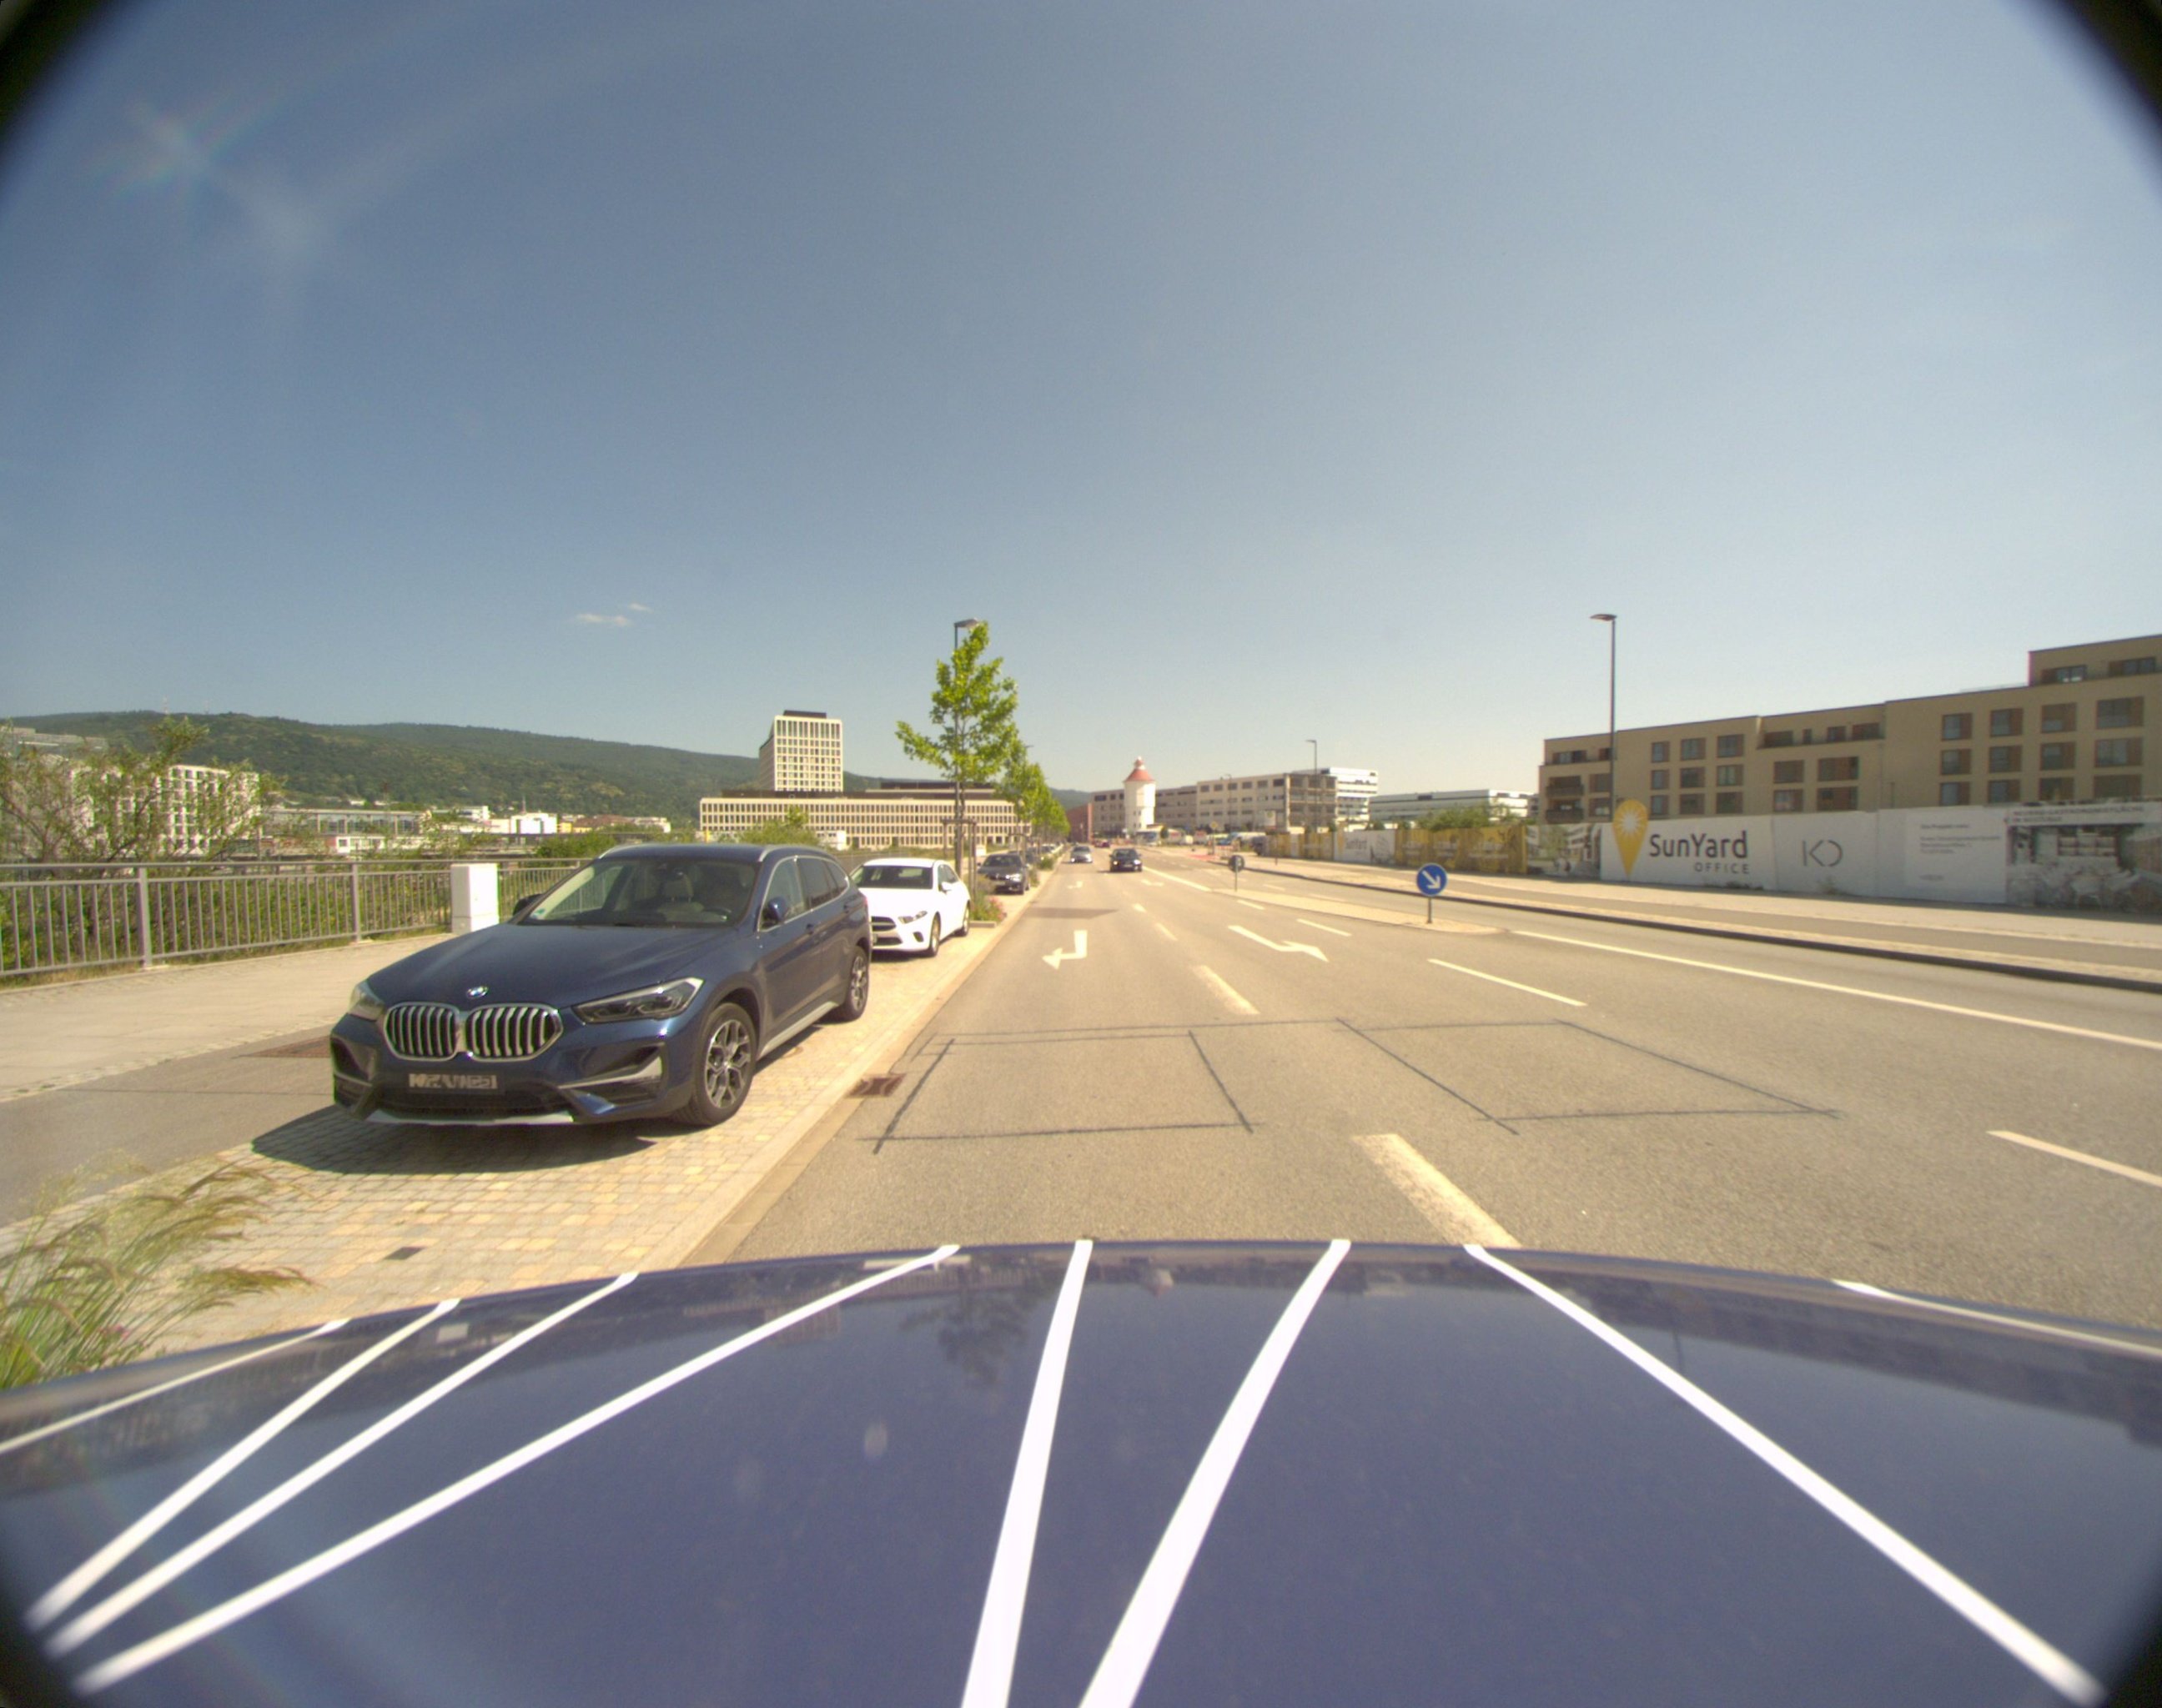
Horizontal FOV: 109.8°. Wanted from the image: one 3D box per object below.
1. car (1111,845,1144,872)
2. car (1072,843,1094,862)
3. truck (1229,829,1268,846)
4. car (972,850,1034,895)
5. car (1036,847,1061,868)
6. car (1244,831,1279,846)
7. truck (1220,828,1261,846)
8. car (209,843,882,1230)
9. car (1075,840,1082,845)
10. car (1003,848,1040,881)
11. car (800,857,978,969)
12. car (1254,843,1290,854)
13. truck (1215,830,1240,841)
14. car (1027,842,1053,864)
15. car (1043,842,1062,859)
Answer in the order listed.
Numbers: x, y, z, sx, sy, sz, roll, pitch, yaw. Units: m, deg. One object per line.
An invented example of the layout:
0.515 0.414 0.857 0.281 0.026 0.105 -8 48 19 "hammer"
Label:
2.749 0.241 45.545 1.709 1.404 3.999 -3 1 1 "car"
0.196 -0.118 64.541 1.820 1.459 4.346 -2 1 1 "car"
23.333 -2.319 105.955 5.005 2.215 1.999 -3 1 -1 "truck"
-2.783 0.621 27.788 1.808 1.424 3.915 2 1 0 "car"
-2.143 0.208 50.466 1.490 1.302 3.154 2 1 0 "car"
22.897 -1.930 96.596 3.930 1.708 1.891 -3 1 -5 "car"
23.728 -2.528 113.355 5.633 2.461 1.999 -3 2 -4 "truck"
-2.908 0.778 5.479 1.808 1.674 4.269 1 1 0 "car"
-0.656 -3.543 231.623 1.819 1.458 4.347 -3 1 2 "car"
-2.947 0.493 37.968 1.569 1.465 3.006 2 1 0 "car"
-2.905 0.804 12.454 1.710 1.366 4.270 2 1 1 "car"
19.624 -0.587 78.045 3.359 0.947 1.293 -2 1 3 "car"
34.234 -4.323 177.580 5.333 2.461 1.999 -3 2 -4 "truck"
-3.249 -0.137 61.065 1.768 1.609 3.373 -3 1 0 "car"
-2.641 -0.321 70.853 1.526 1.482 3.504 -3 1 0 "car"
